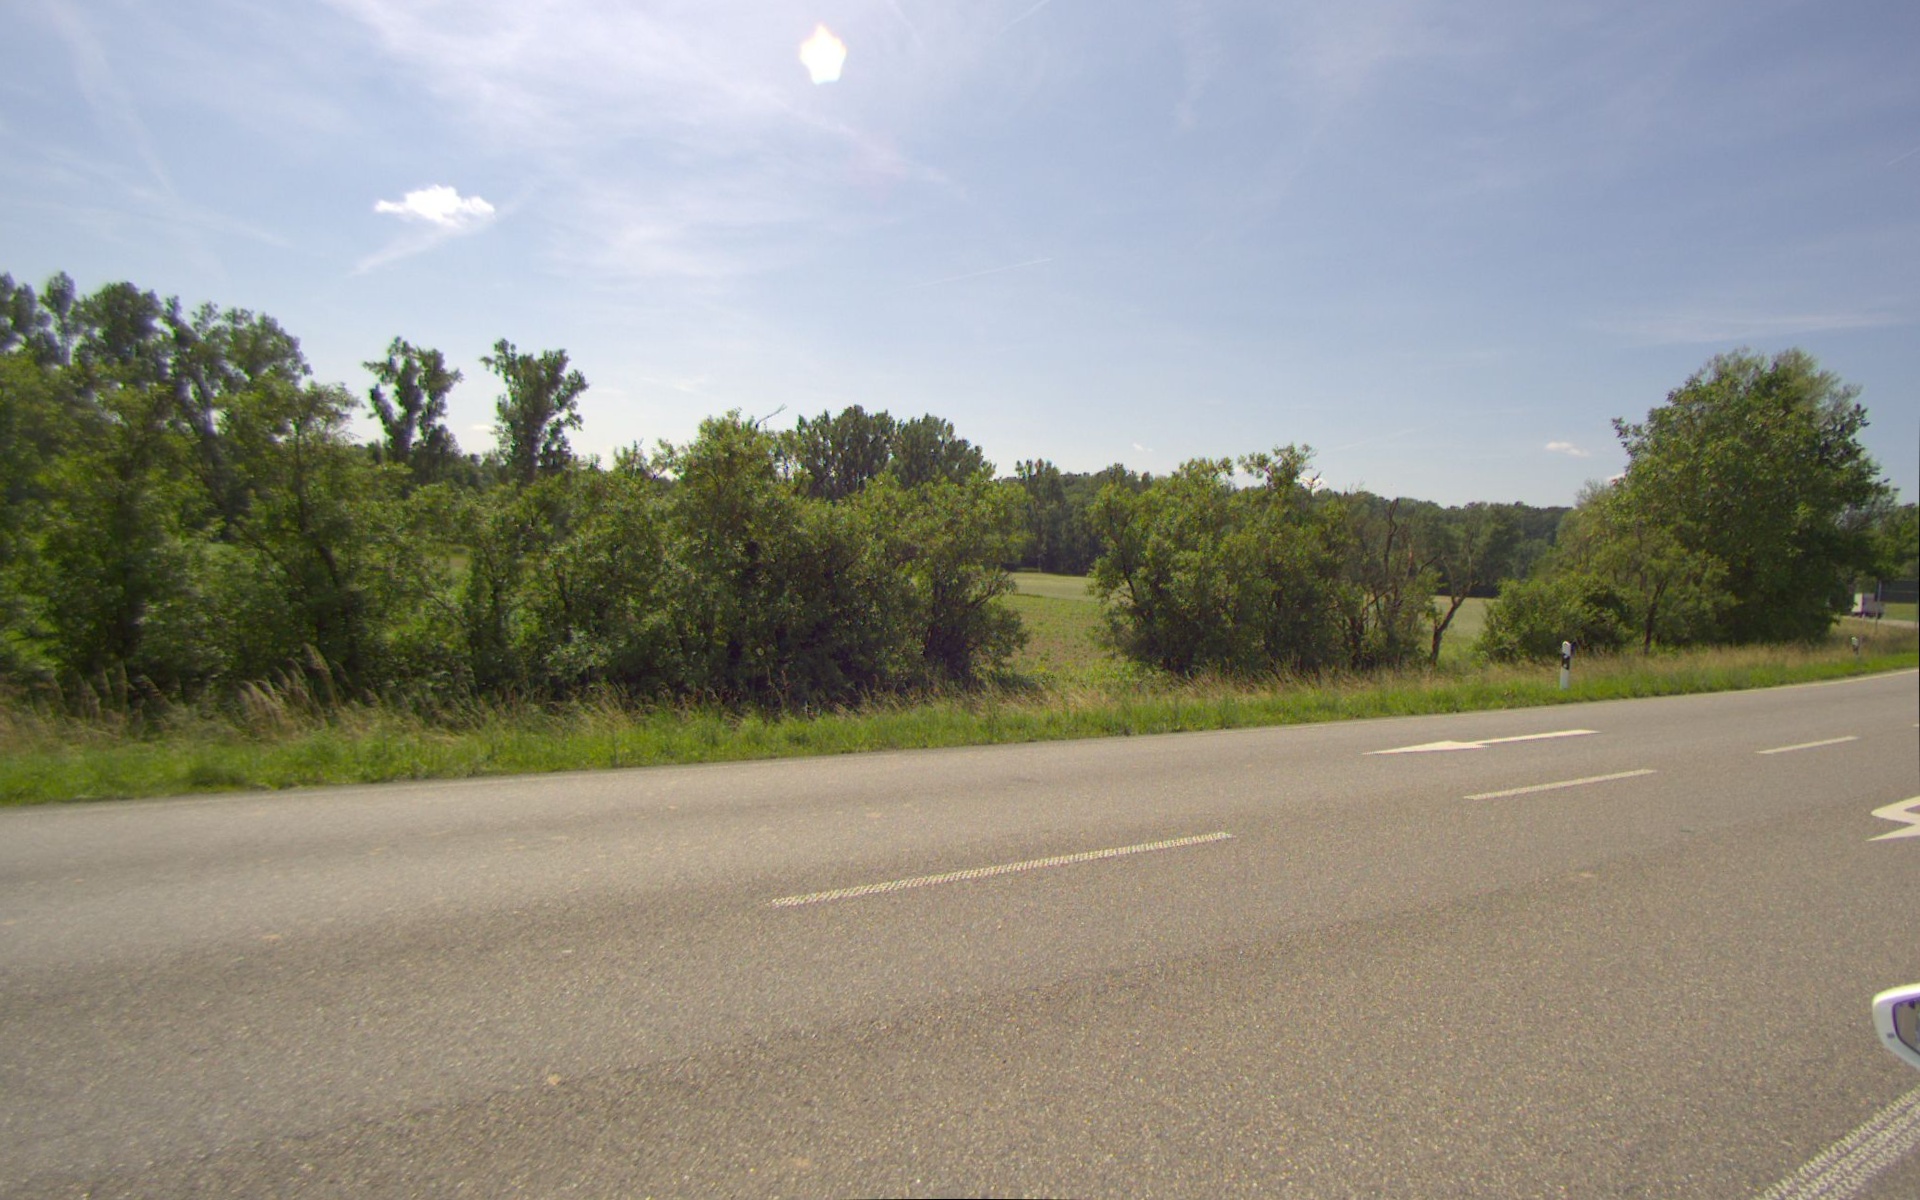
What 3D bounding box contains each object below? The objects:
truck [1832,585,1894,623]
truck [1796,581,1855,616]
[{"bbox_3d":[113.273,0.602,126.215,3.587,4.184,13.062,5,1,33],"label":"truck"},{"bbox_3d":[120.931,-0.110,140.561,3.478,4.297,13.380,5,1,30],"label":"truck"}]
